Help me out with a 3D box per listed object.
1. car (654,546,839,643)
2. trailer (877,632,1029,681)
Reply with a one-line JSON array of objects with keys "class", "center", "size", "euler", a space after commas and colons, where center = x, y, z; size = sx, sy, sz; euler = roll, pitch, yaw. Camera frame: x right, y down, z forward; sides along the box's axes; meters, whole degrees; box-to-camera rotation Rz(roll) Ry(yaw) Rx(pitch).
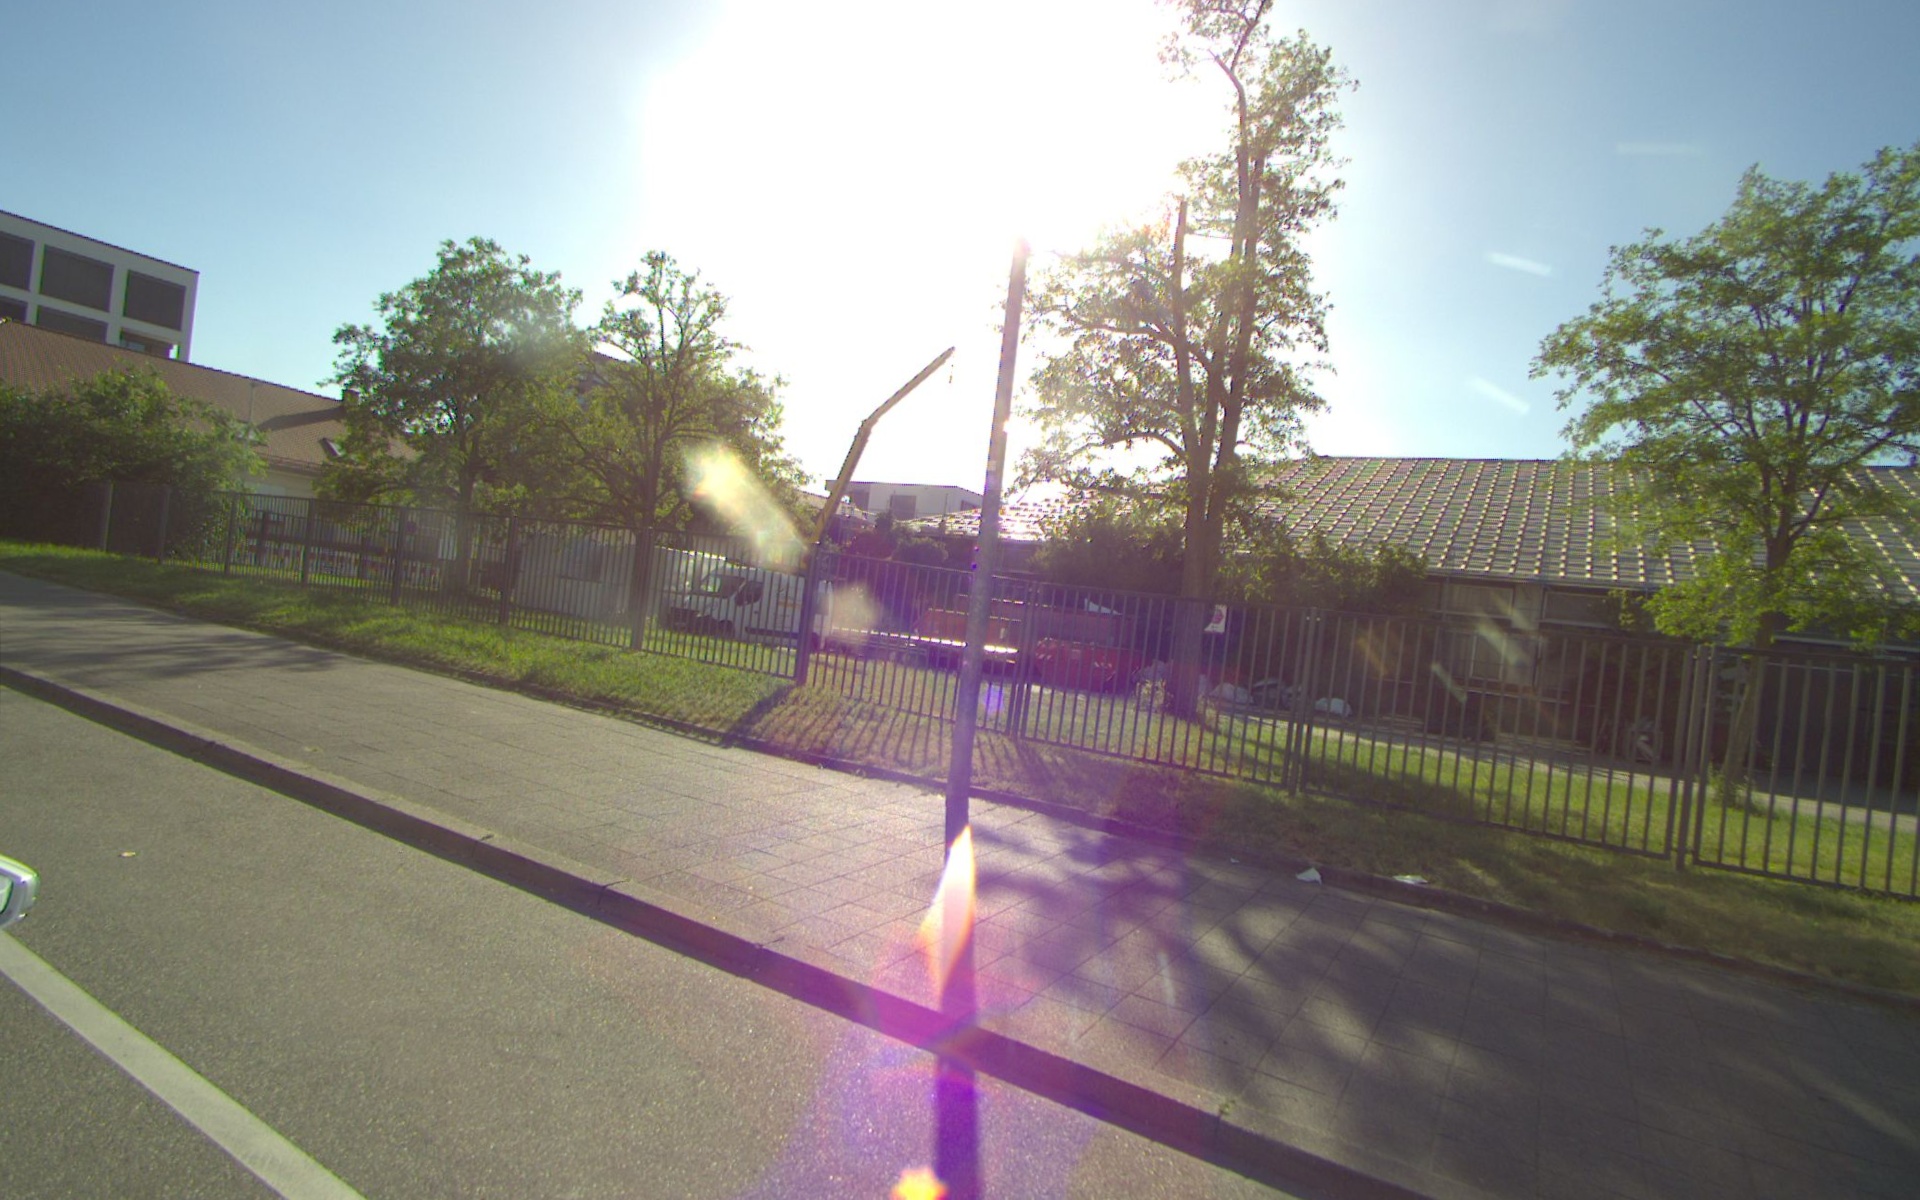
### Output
[{"class": "car", "center": [-6.292, -0.094, 30.293], "size": [1.969, 2.228, 5.286], "euler": [8, 0, 36]}, {"class": "trailer", "center": [-0.310, 1.883, 33.957], "size": [5.034, 0.930, 1.897], "euler": [6, -1, 39]}]
